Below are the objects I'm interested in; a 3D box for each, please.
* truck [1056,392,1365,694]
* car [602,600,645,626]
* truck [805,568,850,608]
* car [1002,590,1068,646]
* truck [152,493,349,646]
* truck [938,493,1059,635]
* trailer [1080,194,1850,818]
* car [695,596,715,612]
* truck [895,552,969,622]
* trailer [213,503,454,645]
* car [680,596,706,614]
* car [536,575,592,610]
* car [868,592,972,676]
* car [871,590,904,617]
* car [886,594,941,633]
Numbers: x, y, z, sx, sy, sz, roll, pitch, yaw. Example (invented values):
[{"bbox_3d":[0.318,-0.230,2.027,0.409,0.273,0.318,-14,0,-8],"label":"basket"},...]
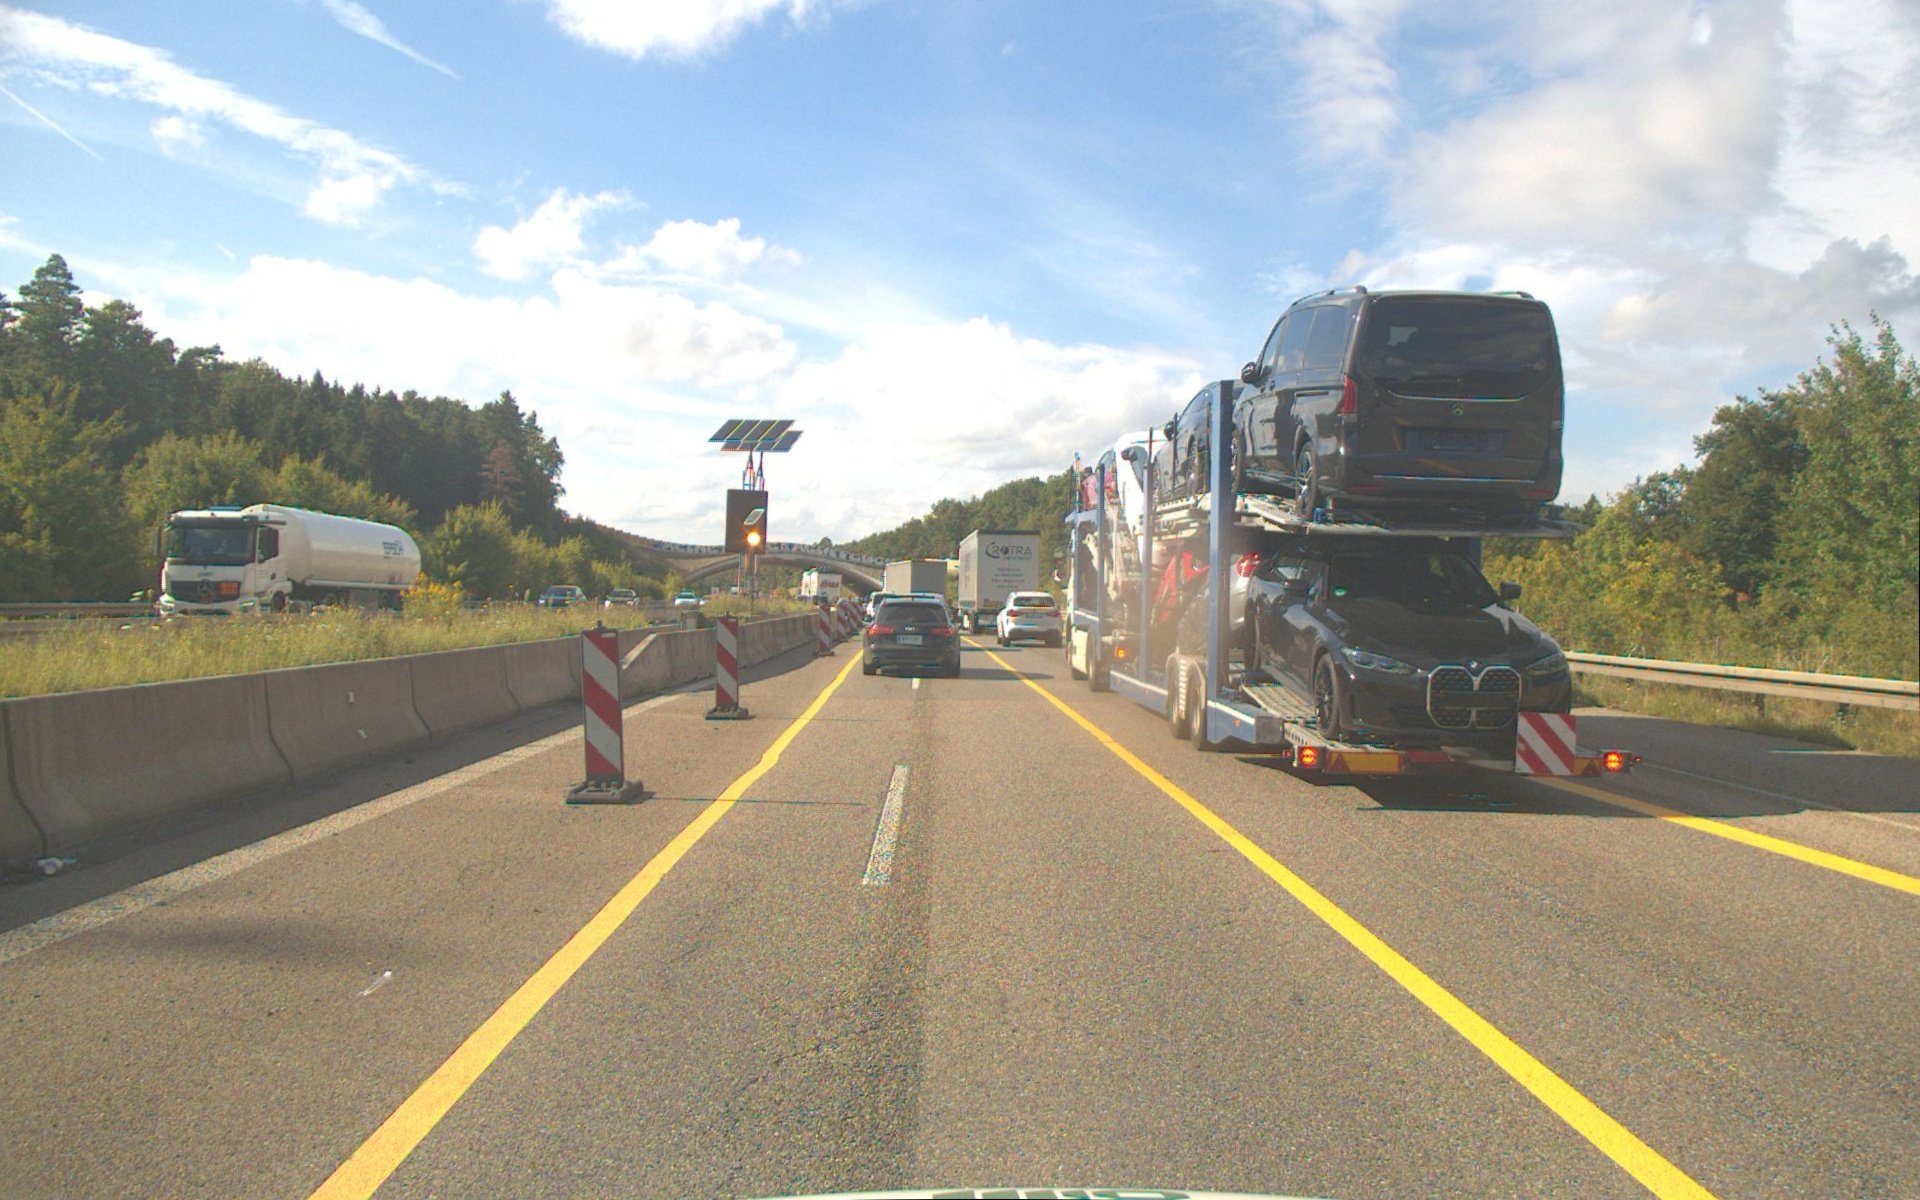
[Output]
[{"bbox_3d":[3.850,-0.816,27.786,3.685,4.269,7.947,1,0,-2],"label":"truck"},{"bbox_3d":[-21.649,0.801,106.436,1.919,1.616,4.481,1,0,-2],"label":"car"},{"bbox_3d":[-13.918,-1.230,173.033,3.588,3.997,11.040,1,0,-10],"label":"truck"},{"bbox_3d":[2.303,0.546,51.705,1.851,1.672,4.017,1,0,0],"label":"car"},{"bbox_3d":[-17.654,-0.721,41.489,2.728,3.551,4.939,1,0,0],"label":"truck"},{"bbox_3d":[1.418,-1.384,72.498,3.605,5.447,16.186,1,0,-4],"label":"truck"},{"bbox_3d":[4.136,-0.633,19.654,3.651,4.269,16.220,1,0,-2],"label":"trailer"},{"bbox_3d":[-27.872,0.451,180.914,1.743,1.630,4.672,1,0,-5],"label":"car"},{"bbox_3d":[-2.119,-0.859,118.024,4.236,4.681,11.109,1,0,-6],"label":"truck"},{"bbox_3d":[-17.697,-0.651,47.799,2.745,3.550,11.111,1,0,0],"label":"trailer"},{"bbox_3d":[-24.751,0.460,153.573,1.741,1.630,4.017,1,0,0],"label":"car"},{"bbox_3d":[-19.386,-0.336,81.100,1.741,1.630,4.017,1,0,0],"label":"car"},{"bbox_3d":[-0.724,0.618,31.792,1.851,1.472,4.000,1,0,0],"label":"car"},{"bbox_3d":[-4.579,0.224,104.232,1.854,1.672,4.013,1,0,-6],"label":"car"},{"bbox_3d":[-1.876,0.508,65.538,1.854,1.472,3.994,1,0,-6],"label":"car"}]
